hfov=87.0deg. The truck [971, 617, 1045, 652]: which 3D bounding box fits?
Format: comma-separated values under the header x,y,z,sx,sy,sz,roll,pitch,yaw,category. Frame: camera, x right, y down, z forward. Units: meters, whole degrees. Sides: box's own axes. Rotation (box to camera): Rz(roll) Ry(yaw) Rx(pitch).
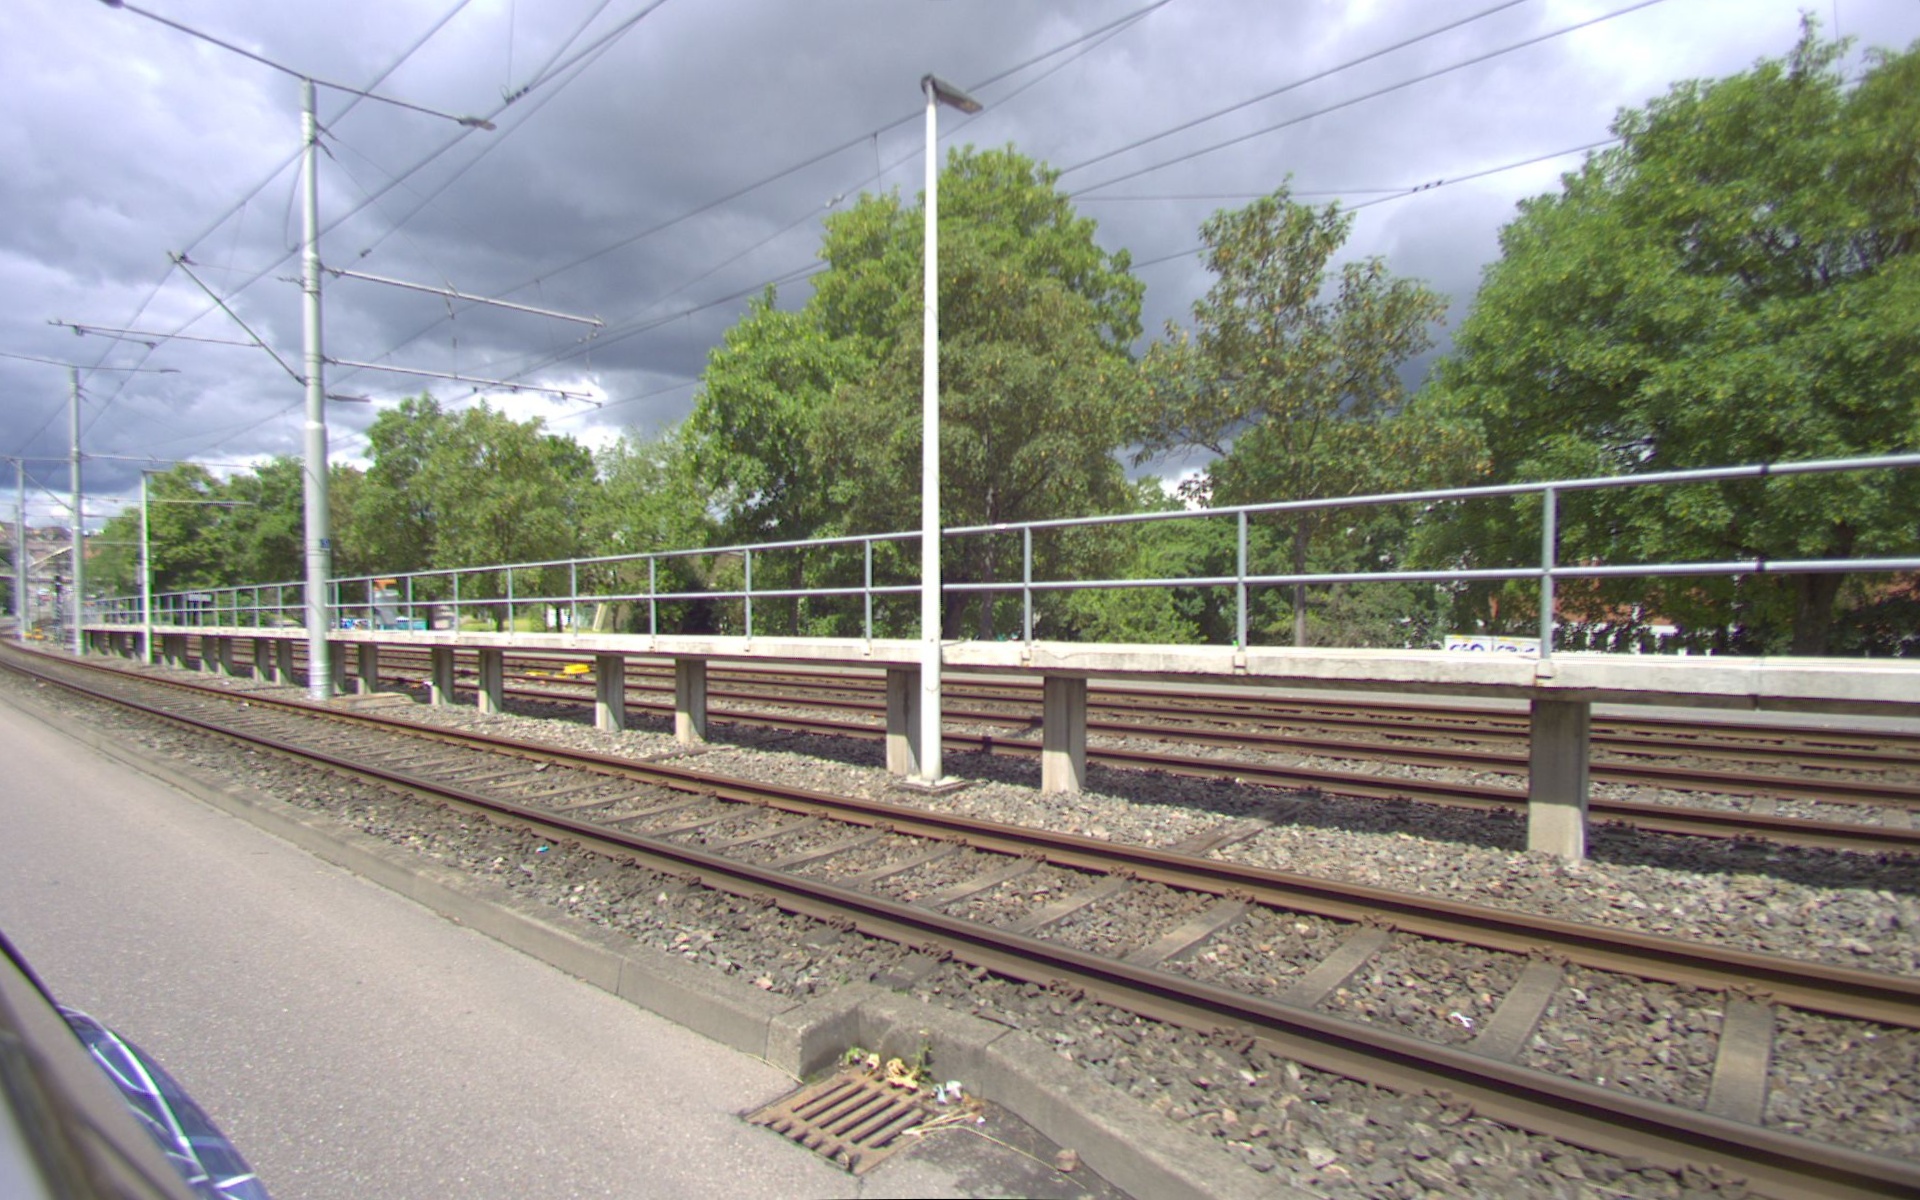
x,y,z,sx,sy,sz,roll,pitch,yaw,category
4.207,2.970,86.765,2.681,2.877,6.527,-2,-3,45,truck
